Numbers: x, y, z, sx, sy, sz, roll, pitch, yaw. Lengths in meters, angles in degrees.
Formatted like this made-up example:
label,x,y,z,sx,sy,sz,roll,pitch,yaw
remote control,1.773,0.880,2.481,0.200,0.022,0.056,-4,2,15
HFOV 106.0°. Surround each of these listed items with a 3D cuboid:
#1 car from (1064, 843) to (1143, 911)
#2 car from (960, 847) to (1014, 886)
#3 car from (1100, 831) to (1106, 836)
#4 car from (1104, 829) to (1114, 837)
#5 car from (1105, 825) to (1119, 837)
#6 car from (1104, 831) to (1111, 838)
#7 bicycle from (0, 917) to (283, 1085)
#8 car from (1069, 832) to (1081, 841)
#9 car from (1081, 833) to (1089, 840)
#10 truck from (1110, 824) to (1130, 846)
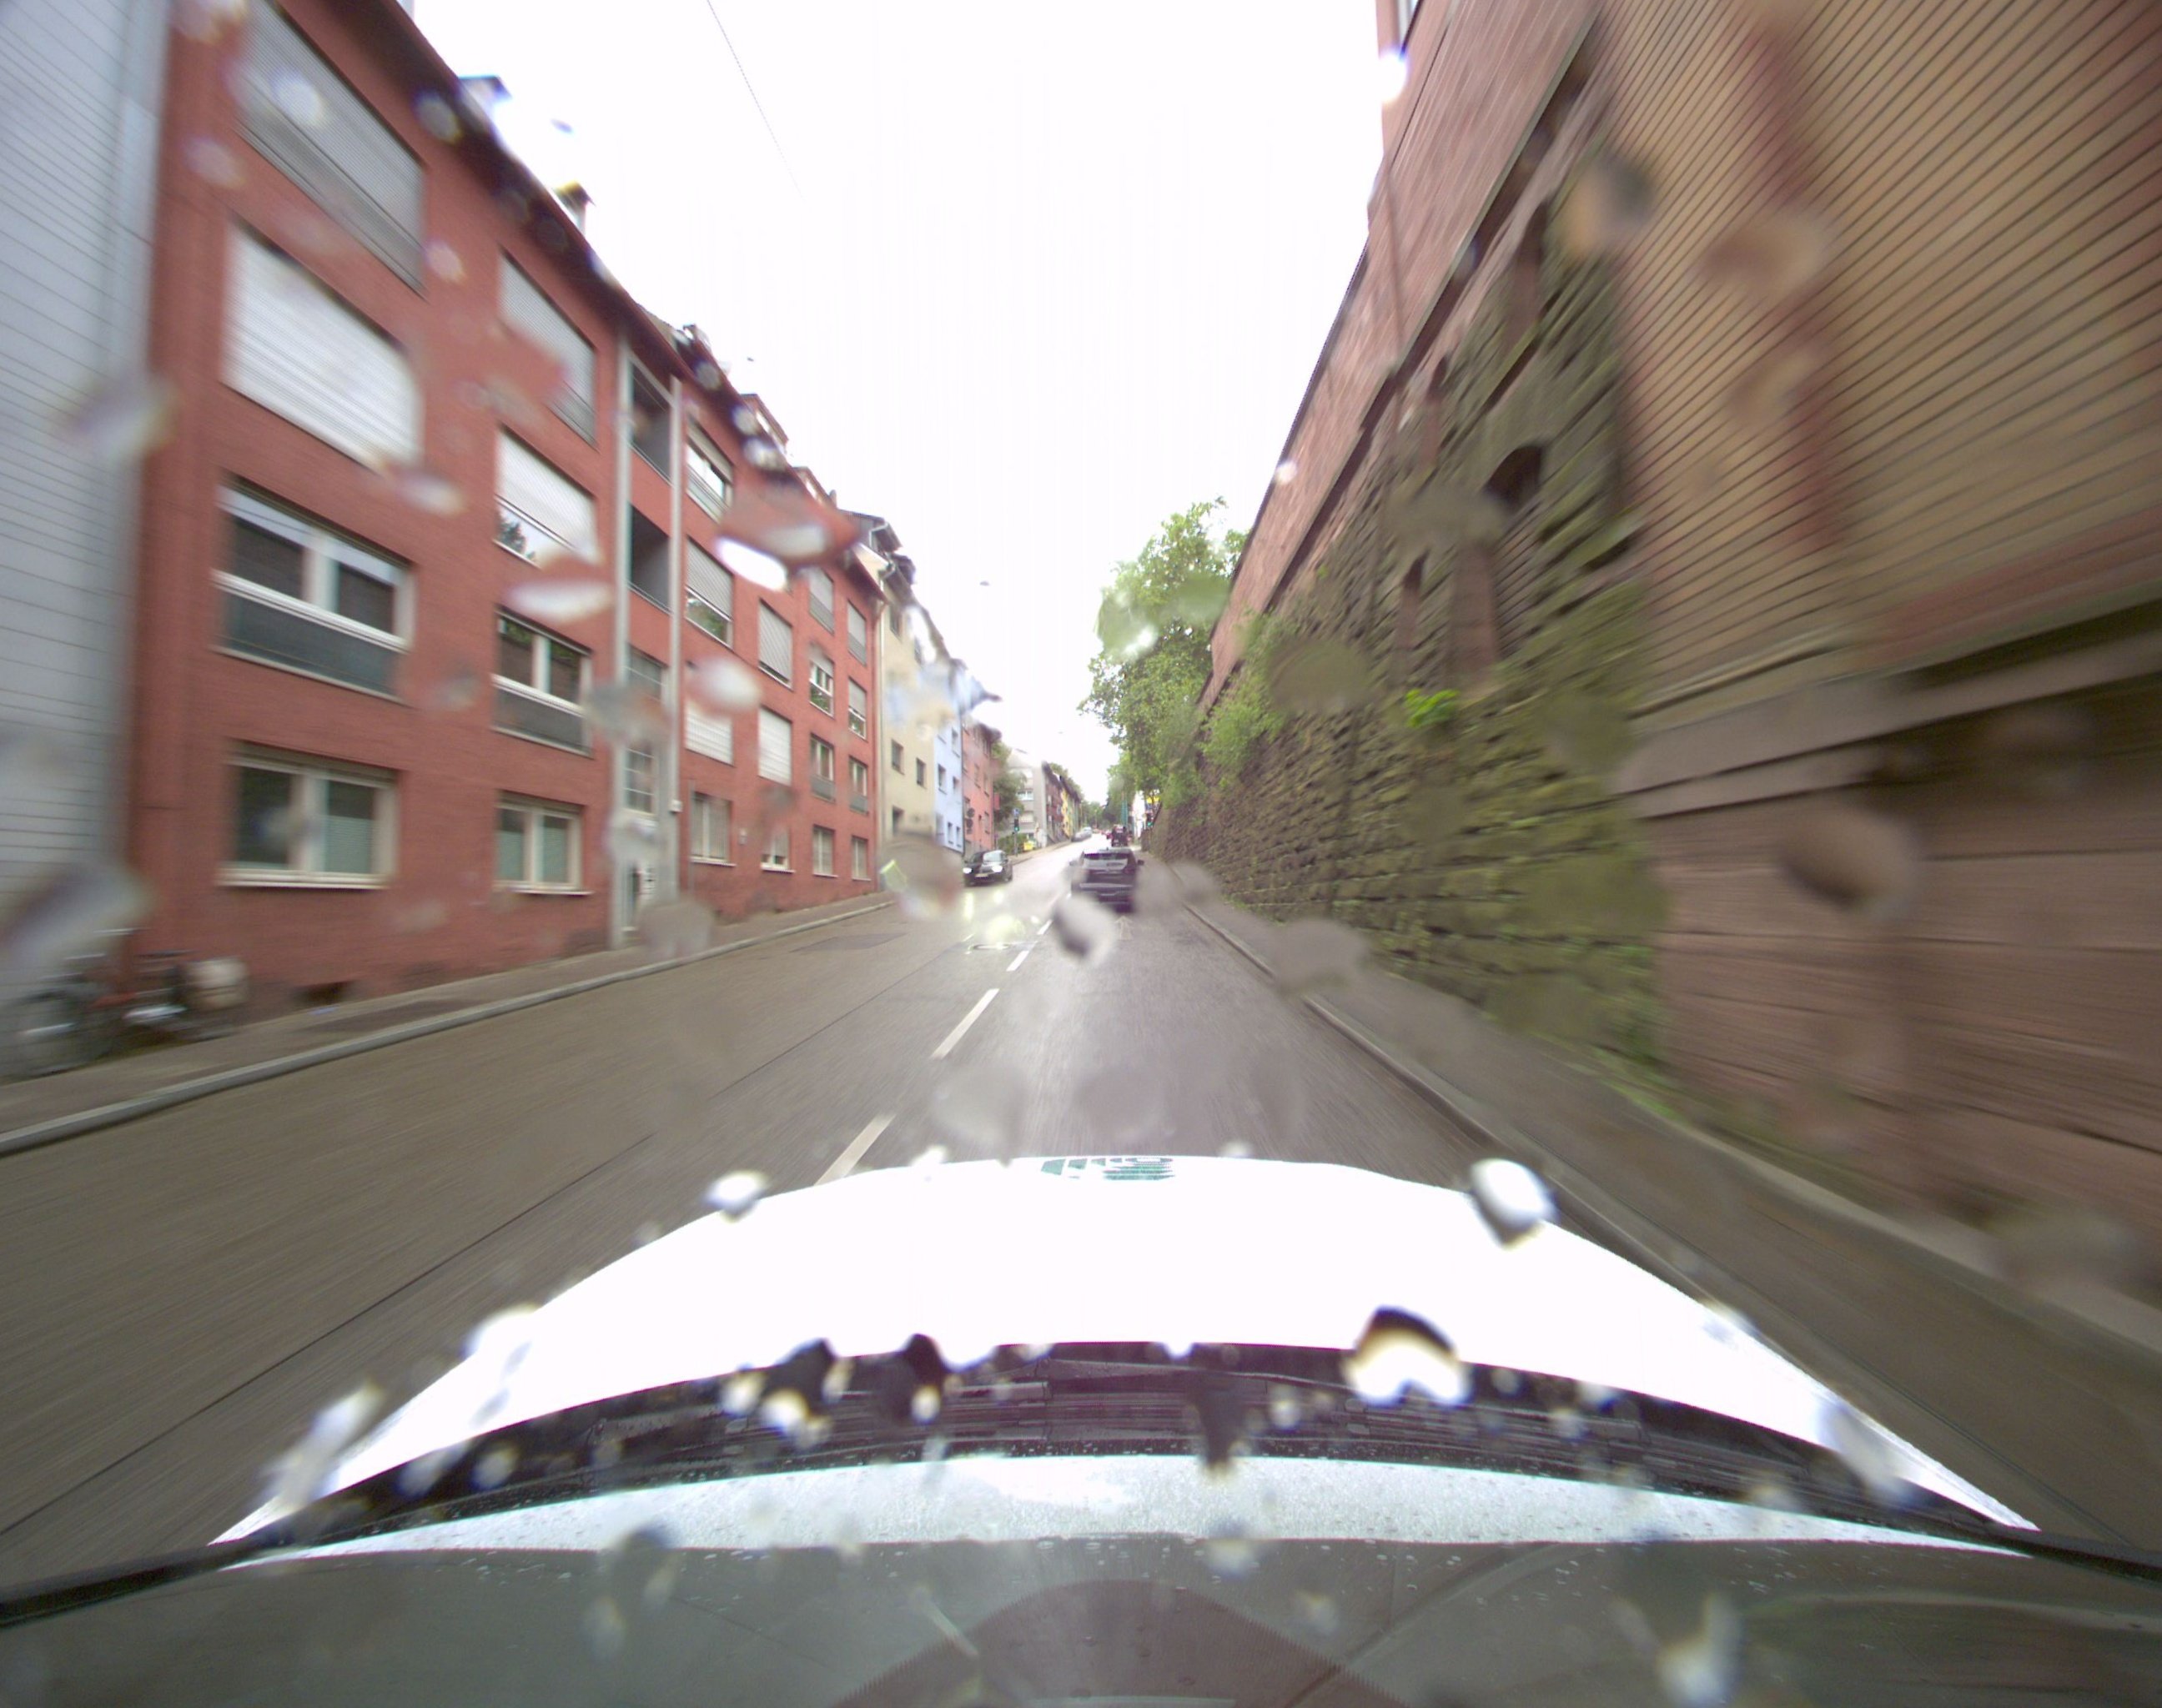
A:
label,x,y,z,sx,sy,sz,roll,pitch,yaw
car,0.547,0.568,21.723,1.875,1.594,3.920,-2,0,0
car,-3.987,0.495,35.236,1.708,1.447,3.923,-3,1,1
car,6.718,-6.194,246.007,1.787,1.510,4.002,-3,0,2
car,5.398,-4.011,155.465,1.787,1.510,4.002,-3,0,2
car,4.263,-3.150,112.536,1.787,1.510,4.503,-3,0,2
car,7.022,-5.243,219.057,1.787,1.510,4.002,-3,0,2
bicycle,-8.171,1.197,7.117,0.496,1.107,1.802,-2,0,3
car,-1.007,-3.046,142.605,1.787,1.510,4.002,-3,0,2
car,0.942,-3.990,186.292,1.787,1.510,4.002,-3,0,2
truck,4.681,-2.220,97.713,2.280,2.440,4.455,-3,0,2
